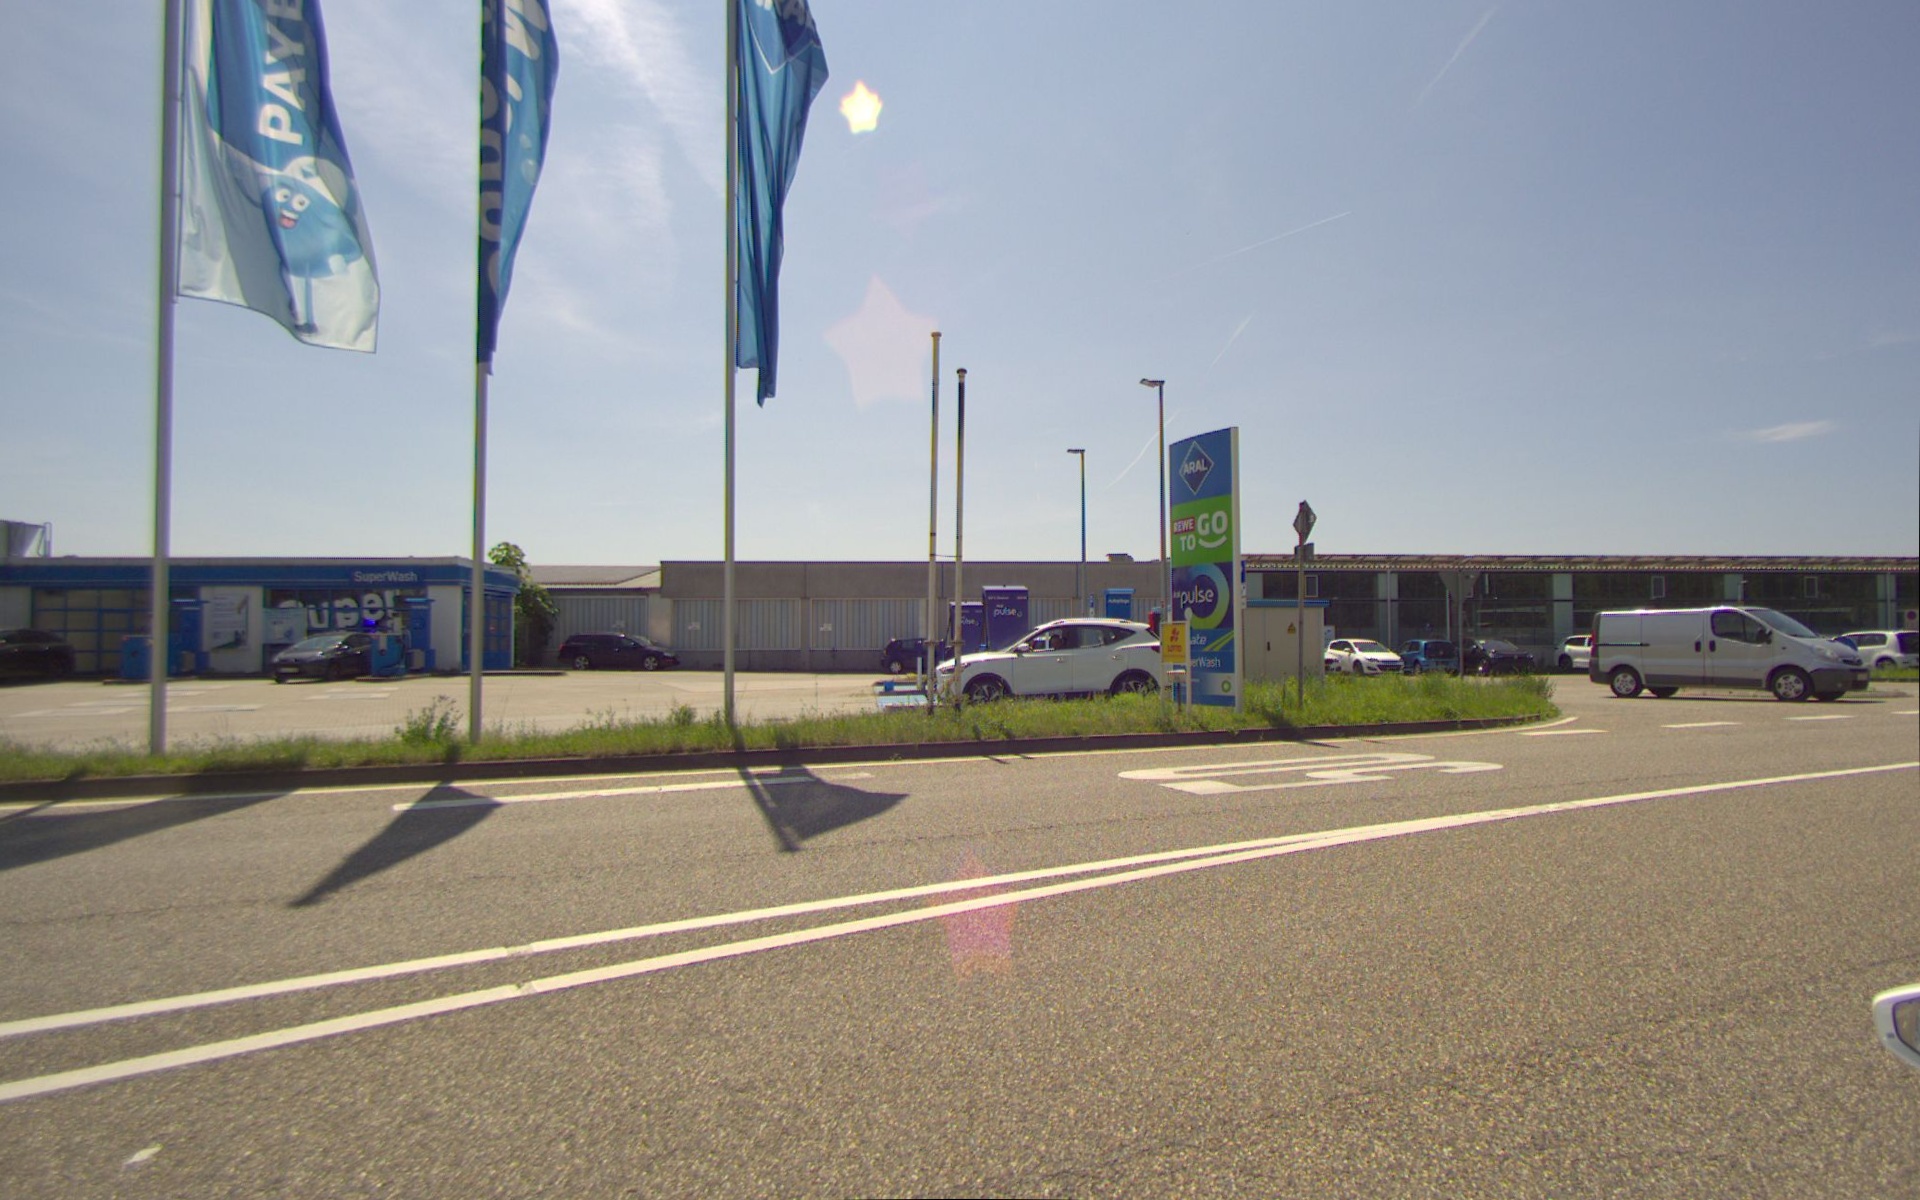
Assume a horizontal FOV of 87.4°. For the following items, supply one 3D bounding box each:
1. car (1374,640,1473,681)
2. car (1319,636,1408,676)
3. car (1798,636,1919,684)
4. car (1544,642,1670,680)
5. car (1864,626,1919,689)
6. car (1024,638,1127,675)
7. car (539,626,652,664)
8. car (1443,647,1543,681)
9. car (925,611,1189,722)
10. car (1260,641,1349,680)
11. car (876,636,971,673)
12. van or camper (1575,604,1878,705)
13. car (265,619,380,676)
[{"bbox_3d":[19.070,2.472,41.551,1.962,1.550,3.997,1,-2,-6],"label":"car"},{"bbox_3d":[16.396,2.250,41.008,1.809,1.516,3.867,1,-2,-5],"label":"car"},{"bbox_3d":[29.885,1.932,33.026,1.534,1.460,3.451,1,-2,-6],"label":"car"},{"bbox_3d":[26.921,2.534,42.012,1.962,1.523,4.591,0,-3,-6],"label":"car"},{"bbox_3d":[32.264,1.866,32.638,1.962,2.040,3.997,1,-2,-6],"label":"car"},{"bbox_3d":[4.765,2.341,41.759,4.023,1.447,1.919,1,-2,-2],"label":"car"},{"bbox_3d":[-14.399,1.778,39.866,3.825,1.461,1.759,1,-2,-4],"label":"car"},{"bbox_3d":[21.887,2.612,41.439,1.736,1.263,3.998,1,-2,-5],"label":"car"},{"bbox_3d":[1.653,1.155,17.958,4.430,1.734,1.869,2,-2,0],"label":"car"},{"bbox_3d":[13.867,2.428,40.654,1.962,1.461,3.998,1,-2,-5],"label":"car"},{"bbox_3d":[-1.538,2.249,41.630,3.825,1.461,1.759,1,-2,-4],"label":"car"},{"bbox_3d":[16.421,1.233,21.849,1.882,1.929,4.827,0,-5,-30],"label":"van or camper"},{"bbox_3d":[-19.385,1.441,30.721,1.915,1.628,3.986,1,-2,-17],"label":"car"}]
